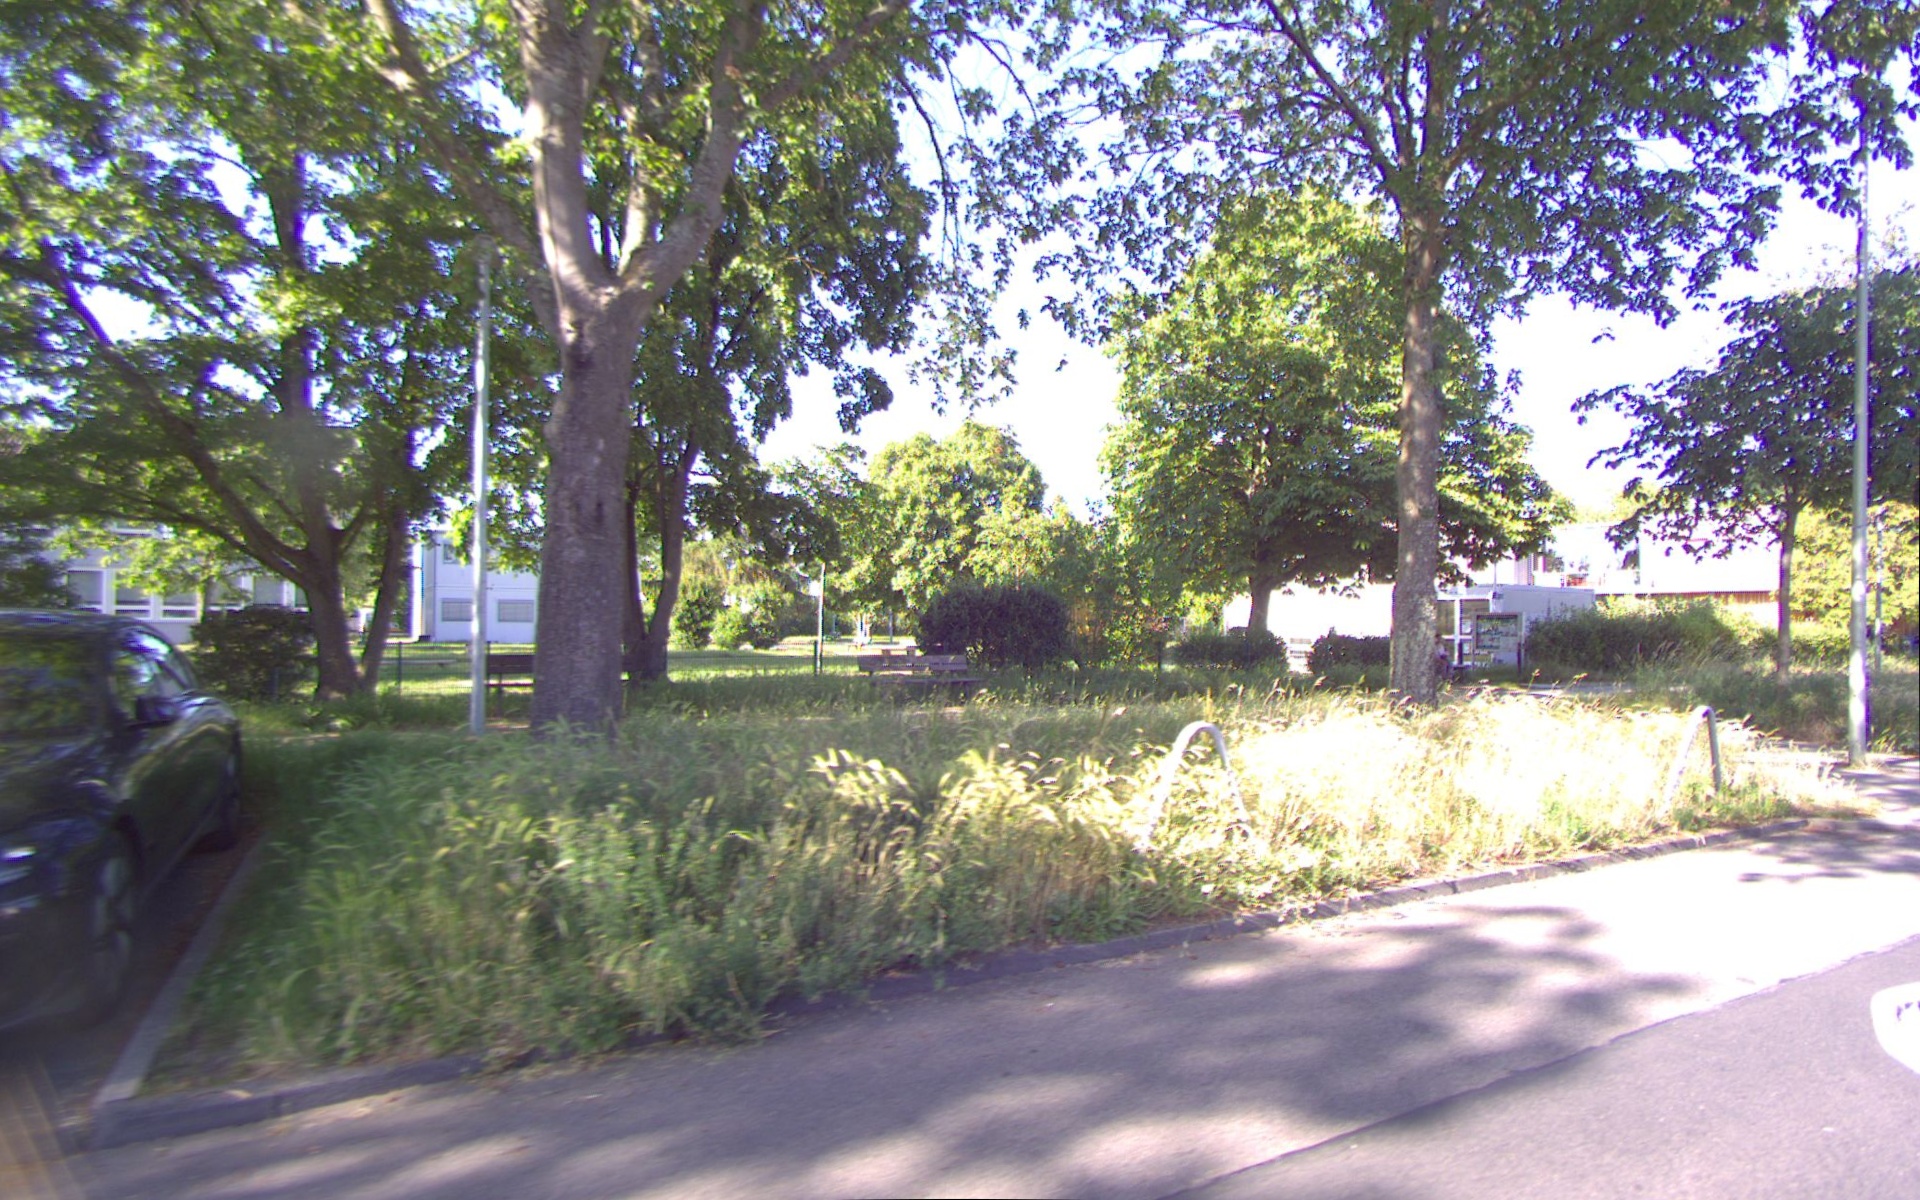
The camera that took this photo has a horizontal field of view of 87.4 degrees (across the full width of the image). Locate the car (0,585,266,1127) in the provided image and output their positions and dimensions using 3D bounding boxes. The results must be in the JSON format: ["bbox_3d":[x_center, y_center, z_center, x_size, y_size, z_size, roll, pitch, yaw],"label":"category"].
[{"bbox_3d":[-4.458,0.725,4.498,1.786,1.551,4.347,2,0,-30],"label":"car"}]

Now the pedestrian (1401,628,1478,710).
[{"bbox_3d":[11.581,1.636,24.244,1.212,1.851,1.542,2,0,44],"label":"pedestrian"}]
